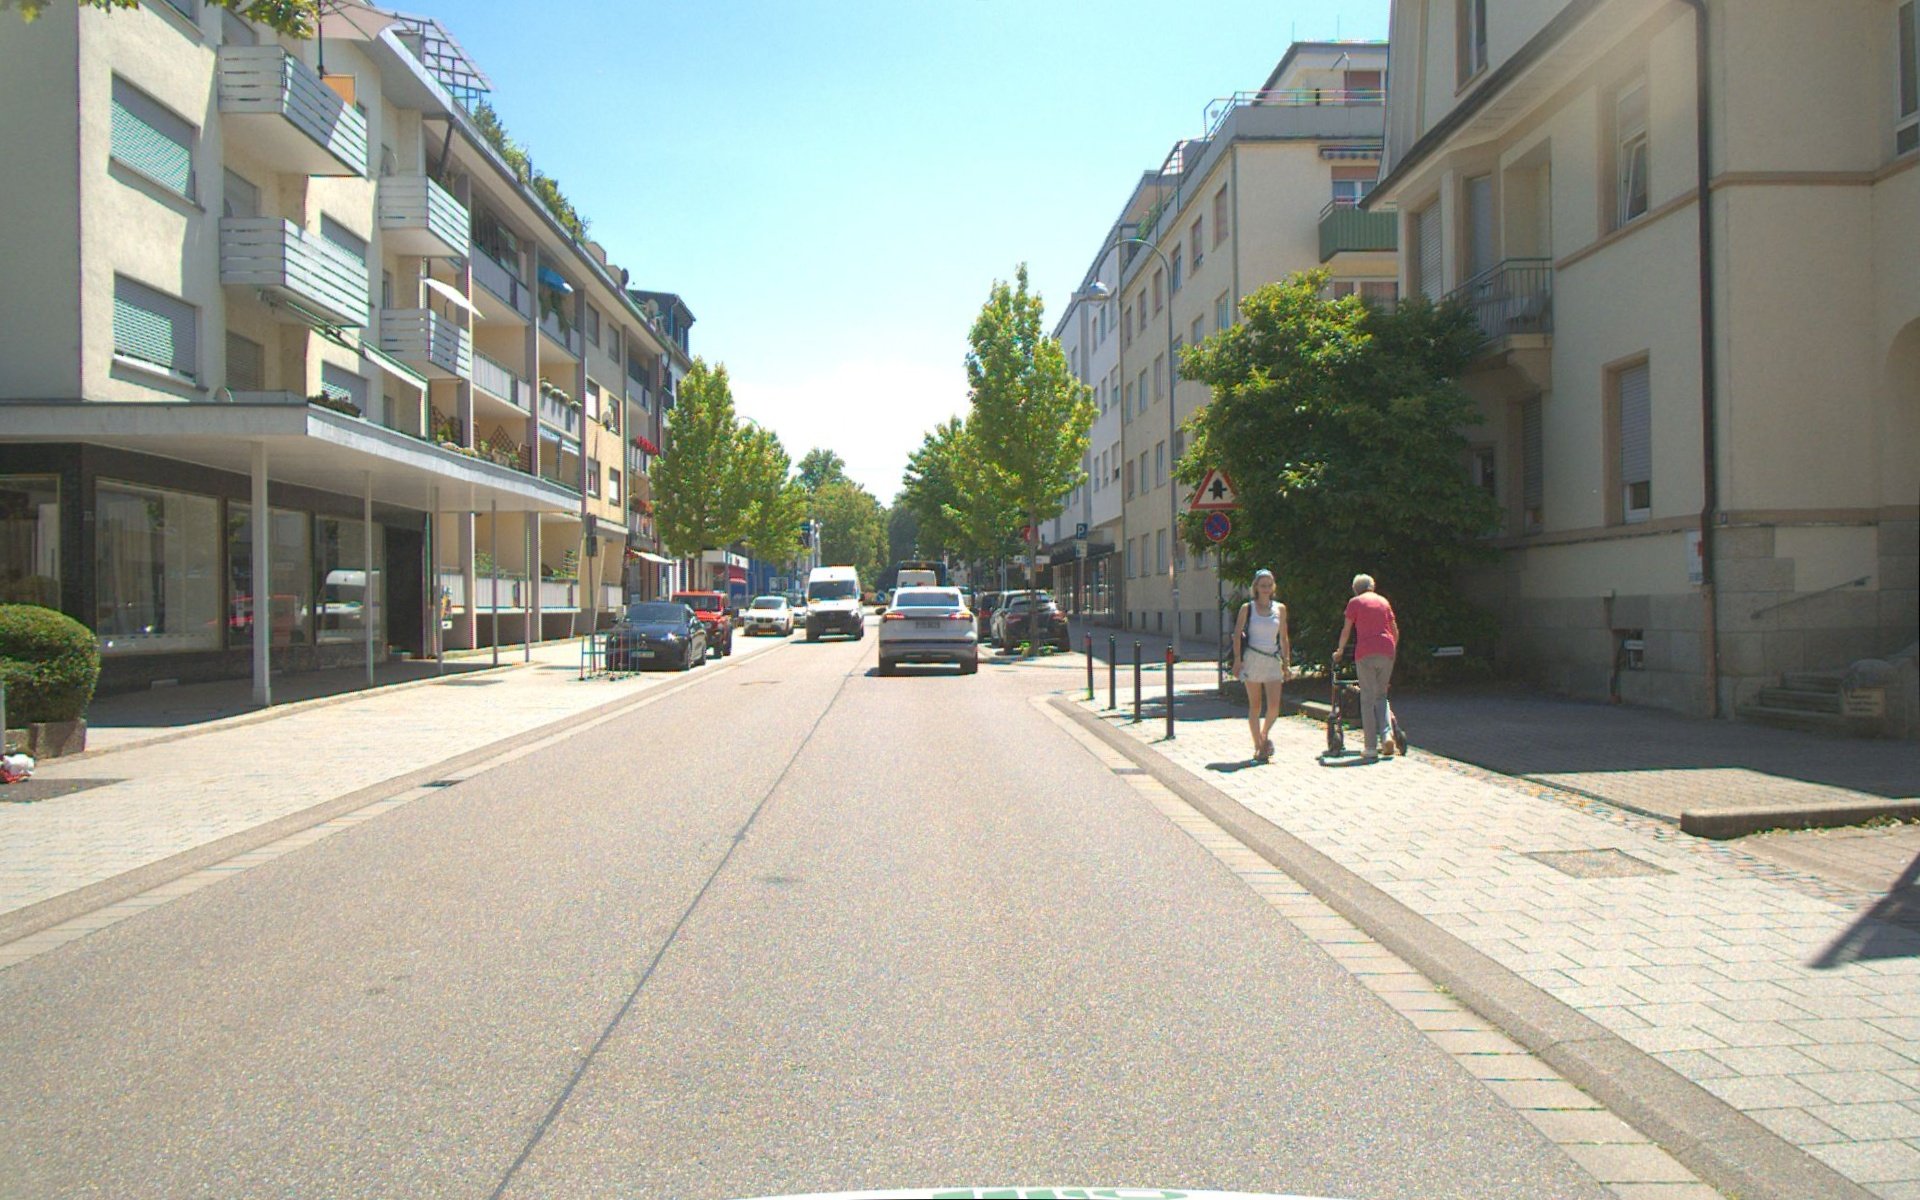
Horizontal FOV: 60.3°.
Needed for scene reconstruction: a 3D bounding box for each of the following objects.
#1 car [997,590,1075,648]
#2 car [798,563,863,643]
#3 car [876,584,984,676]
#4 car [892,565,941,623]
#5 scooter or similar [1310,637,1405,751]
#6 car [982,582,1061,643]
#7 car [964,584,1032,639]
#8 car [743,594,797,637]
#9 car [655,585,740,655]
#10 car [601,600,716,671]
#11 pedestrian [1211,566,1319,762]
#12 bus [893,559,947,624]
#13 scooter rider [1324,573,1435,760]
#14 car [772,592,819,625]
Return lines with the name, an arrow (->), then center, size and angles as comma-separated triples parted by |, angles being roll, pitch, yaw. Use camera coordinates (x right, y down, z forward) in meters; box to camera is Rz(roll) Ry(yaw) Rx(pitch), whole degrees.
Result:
car -> 2.017, 0.479, 44.905 | 1.857, 1.463, 4.544 | -1, 0, 0
car -> -4.667, 0.079, 60.538 | 1.996, 2.675, 7.104 | -3, 0, -2
car -> -0.656, 0.539, 32.339 | 1.954, 1.661, 3.998 | 1, 0, -3
car -> -1.977, -0.262, 74.925 | 2.112, 2.484, 5.281 | 1, 0, -2
scooter or similar -> 3.650, 0.852, 15.239 | 0.650, 0.980, 0.753 | -2, 0, -2
car -> 1.856, 0.365, 51.042 | 1.859, 1.703, 4.686 | -2, 0, -4
car -> 1.257, 0.367, 56.366 | 1.819, 1.703, 4.533 | -2, 0, -4
car -> -7.682, 0.608, 67.144 | 1.717, 1.646, 4.400 | 1, 0, -1
car -> -6.900, 0.502, 43.855 | 1.717, 1.732, 4.099 | 1, 0, -2
car -> -6.724, 0.748, 37.384 | 1.858, 1.442, 5.045 | 1, 0, -2
pedestrian -> 2.708, 0.555, 14.749 | 0.686, 1.655, 0.783 | -4, 0, -3
bus -> -2.081, -0.419, 88.670 | 2.606, 3.278, 7.301 | 1, 0, 1
scooter rider -> 3.674, 0.565, 14.521 | 0.702, 1.575, 0.770 | -2, 0, -4
car -> -7.734, 0.387, 78.014 | 1.716, 1.478, 4.400 | 1, 0, 0
